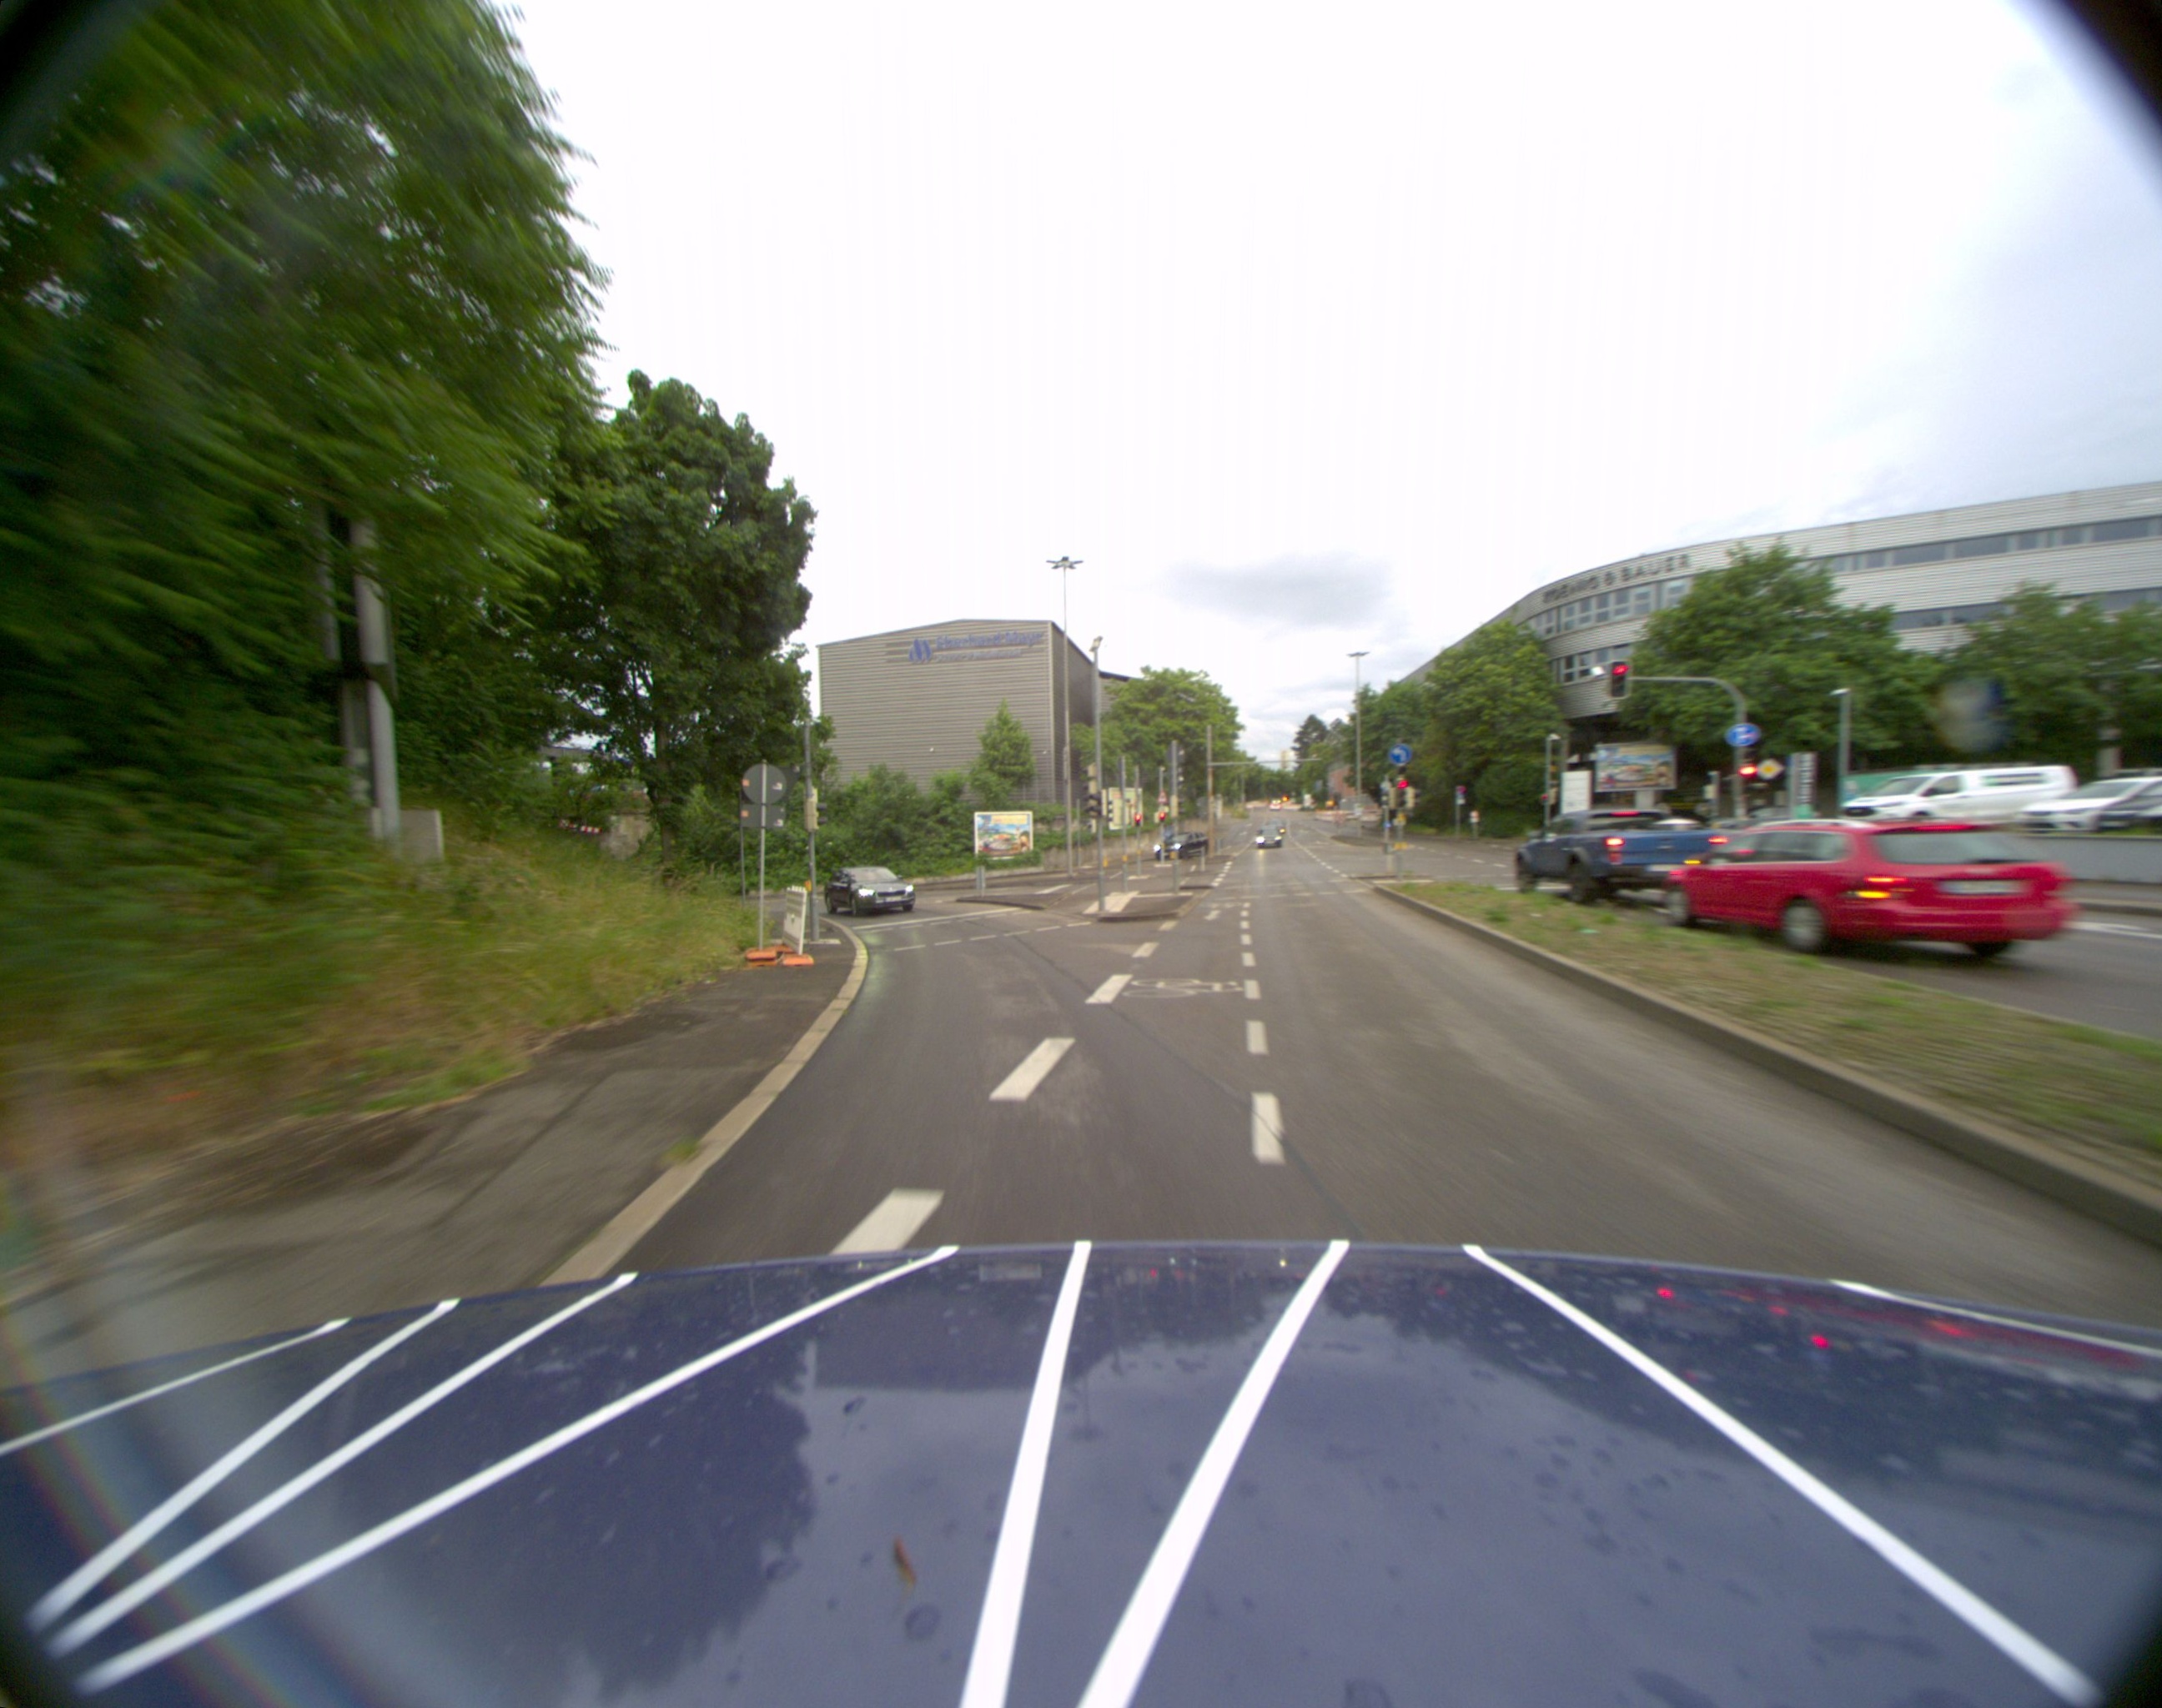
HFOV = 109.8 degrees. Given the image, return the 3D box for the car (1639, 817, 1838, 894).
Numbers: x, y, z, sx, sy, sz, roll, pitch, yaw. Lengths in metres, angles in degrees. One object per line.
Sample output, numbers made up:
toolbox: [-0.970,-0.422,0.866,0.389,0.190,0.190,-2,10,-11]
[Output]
car: [14.371,-0.048,16.943,1.544,1.451,4.072,-1,3,12]

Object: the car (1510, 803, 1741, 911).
car: [10.646,-0.016,15.438,1.936,1.808,5.173,-1,2,13]

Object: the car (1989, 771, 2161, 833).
car: [26.684,-1.370,19.704,3.617,1.361,1.874,-4,2,12]

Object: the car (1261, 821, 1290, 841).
car: [16.736,-2.003,65.339,1.750,1.363,3.760,-4,3,24]

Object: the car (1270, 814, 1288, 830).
car: [20.886,-3.350,80.152,1.735,1.569,3.711,-1,3,13]

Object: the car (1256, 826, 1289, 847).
car: [14.217,-1.301,56.281,1.594,1.253,3.760,-4,3,24]

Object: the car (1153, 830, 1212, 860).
car: [6.728,-0.607,50.089,1.948,1.535,4.217,-3,3,38]

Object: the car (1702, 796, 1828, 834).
car: [35.011,-1.963,39.044,4.371,1.591,2.037,-3,2,24]

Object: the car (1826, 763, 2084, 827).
car: [27.806,-1.862,24.376,5.366,1.792,2.219,-1,3,4]

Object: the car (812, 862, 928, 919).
car: [-6.611,1.107,23.525,1.815,1.509,4.042,-4,1,-41]

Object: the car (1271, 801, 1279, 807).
car: [41.542,-10.651,162.424,1.531,1.308,3.233,-1,3,16]

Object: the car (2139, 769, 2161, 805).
car: [39.520,-2.370,26.248,1.572,1.314,3.298,-1,3,10]

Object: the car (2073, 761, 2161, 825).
car: [25.160,-1.464,16.815,3.617,1.361,1.743,-4,2,12]

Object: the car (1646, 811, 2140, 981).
car: [9.029,0.274,9.180,1.809,1.523,4.443,-1,3,12]
